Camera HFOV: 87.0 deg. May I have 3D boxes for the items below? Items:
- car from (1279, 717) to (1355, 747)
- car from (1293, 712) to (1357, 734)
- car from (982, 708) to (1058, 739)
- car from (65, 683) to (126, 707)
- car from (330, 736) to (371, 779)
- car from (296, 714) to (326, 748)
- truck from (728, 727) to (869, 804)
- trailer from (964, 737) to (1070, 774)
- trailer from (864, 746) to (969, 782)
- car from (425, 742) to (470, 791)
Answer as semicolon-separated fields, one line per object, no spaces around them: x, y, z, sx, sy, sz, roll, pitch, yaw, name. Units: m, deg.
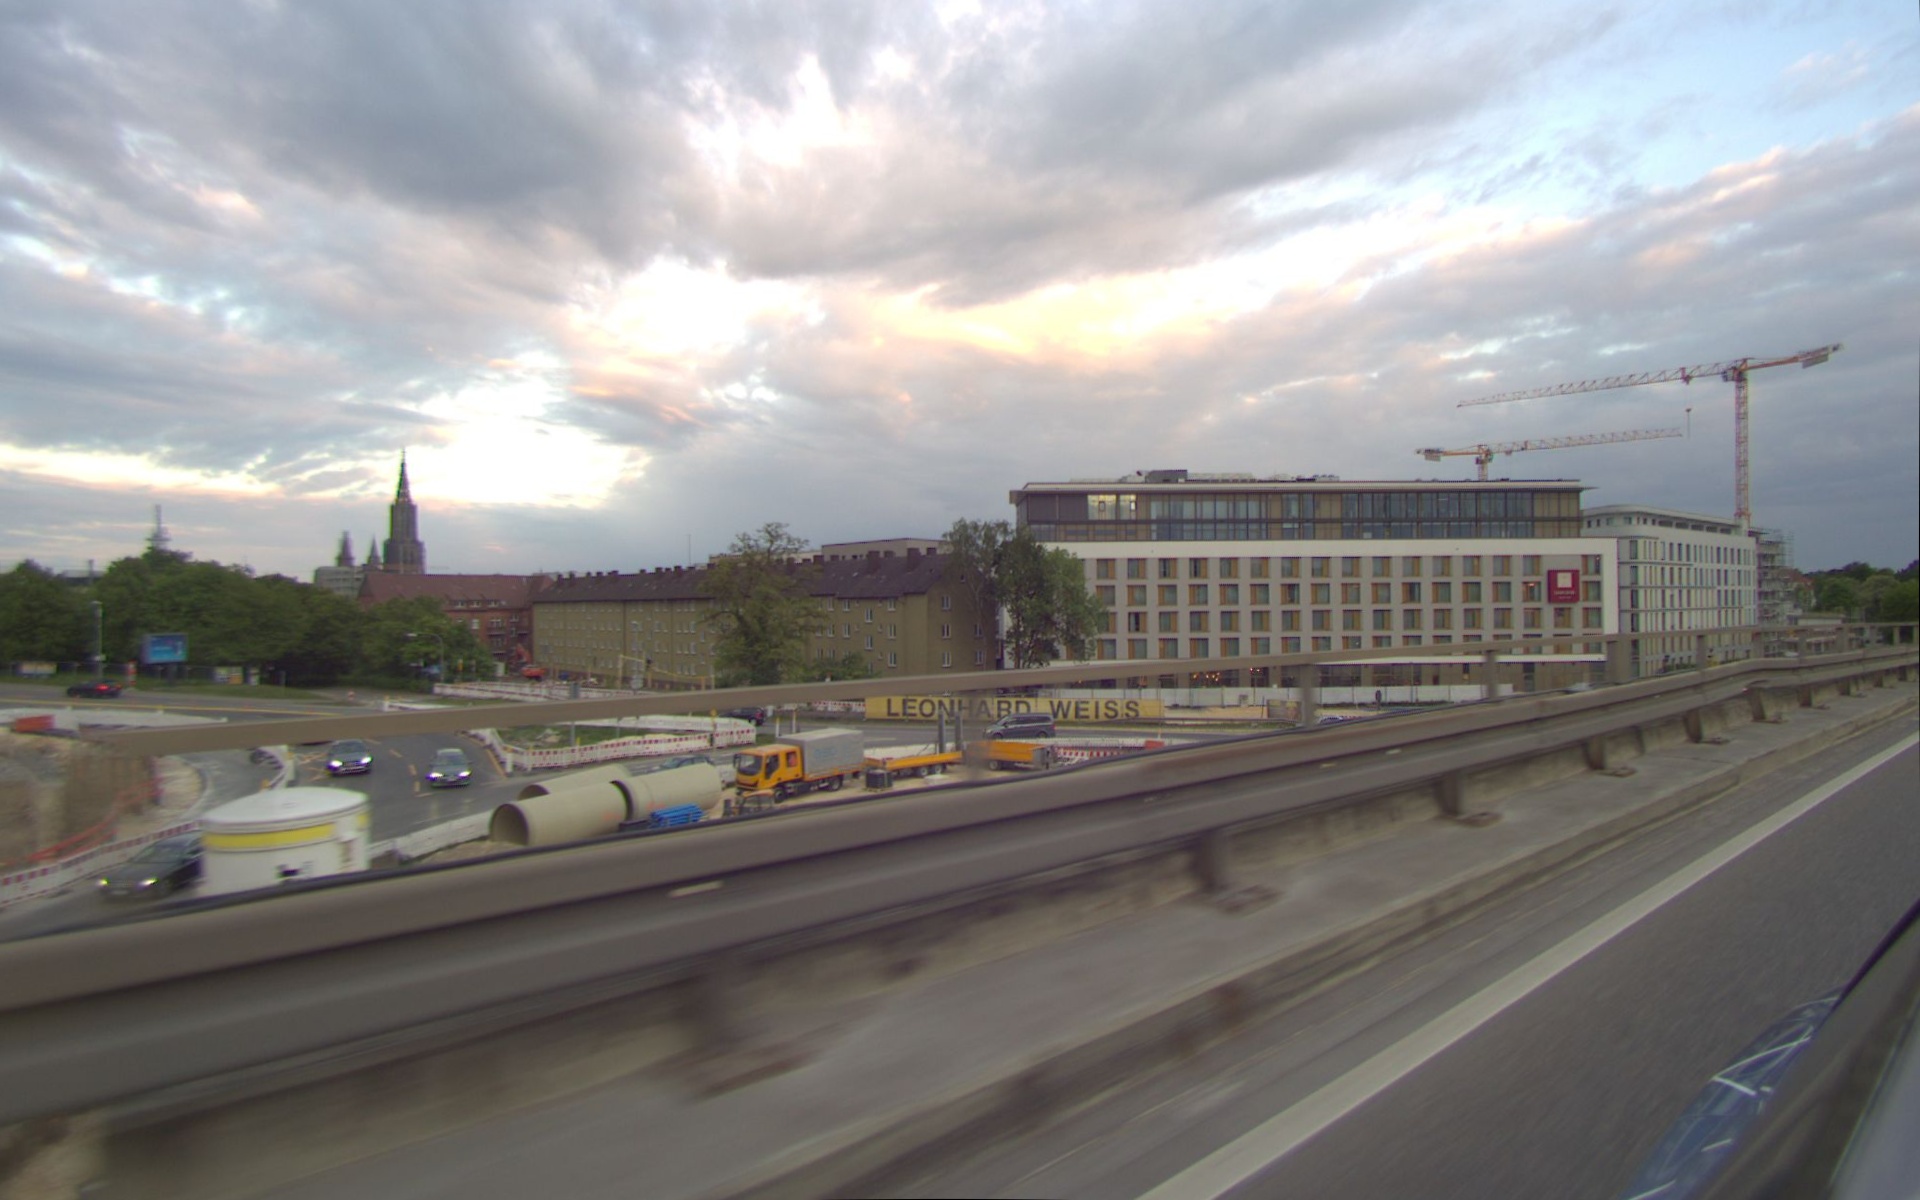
23.566;8.728;67.053;4.526;1.639;1.991;0;-2;14;car
26.470;8.901;73.419;3.925;1.461;1.910;1;-5;1;car
4.111;8.529;69.881;4.992;1.902;2.000;1;-2;-3;car
-76.293;8.347;89.318;3.937;2.041;1.992;-1;-4;11;car
-33.289;8.585;55.346;1.612;1.761;3.799;-1;-1;-27;car
-41.771;8.400;65.151;1.617;1.639;3.769;0;0;-33;car
-8.034;8.235;51.191;2.157;2.987;7.220;-4;-4;44;truck
3.216;8.853;57.797;5.825;1.365;2.005;0;0;31;trailer
-2.359;9.049;56.115;5.769;1.366;1.995;1;-6;-41;trailer
-26.807;8.655;52.883;1.768;1.741;4.105;-3;2;-30;car
